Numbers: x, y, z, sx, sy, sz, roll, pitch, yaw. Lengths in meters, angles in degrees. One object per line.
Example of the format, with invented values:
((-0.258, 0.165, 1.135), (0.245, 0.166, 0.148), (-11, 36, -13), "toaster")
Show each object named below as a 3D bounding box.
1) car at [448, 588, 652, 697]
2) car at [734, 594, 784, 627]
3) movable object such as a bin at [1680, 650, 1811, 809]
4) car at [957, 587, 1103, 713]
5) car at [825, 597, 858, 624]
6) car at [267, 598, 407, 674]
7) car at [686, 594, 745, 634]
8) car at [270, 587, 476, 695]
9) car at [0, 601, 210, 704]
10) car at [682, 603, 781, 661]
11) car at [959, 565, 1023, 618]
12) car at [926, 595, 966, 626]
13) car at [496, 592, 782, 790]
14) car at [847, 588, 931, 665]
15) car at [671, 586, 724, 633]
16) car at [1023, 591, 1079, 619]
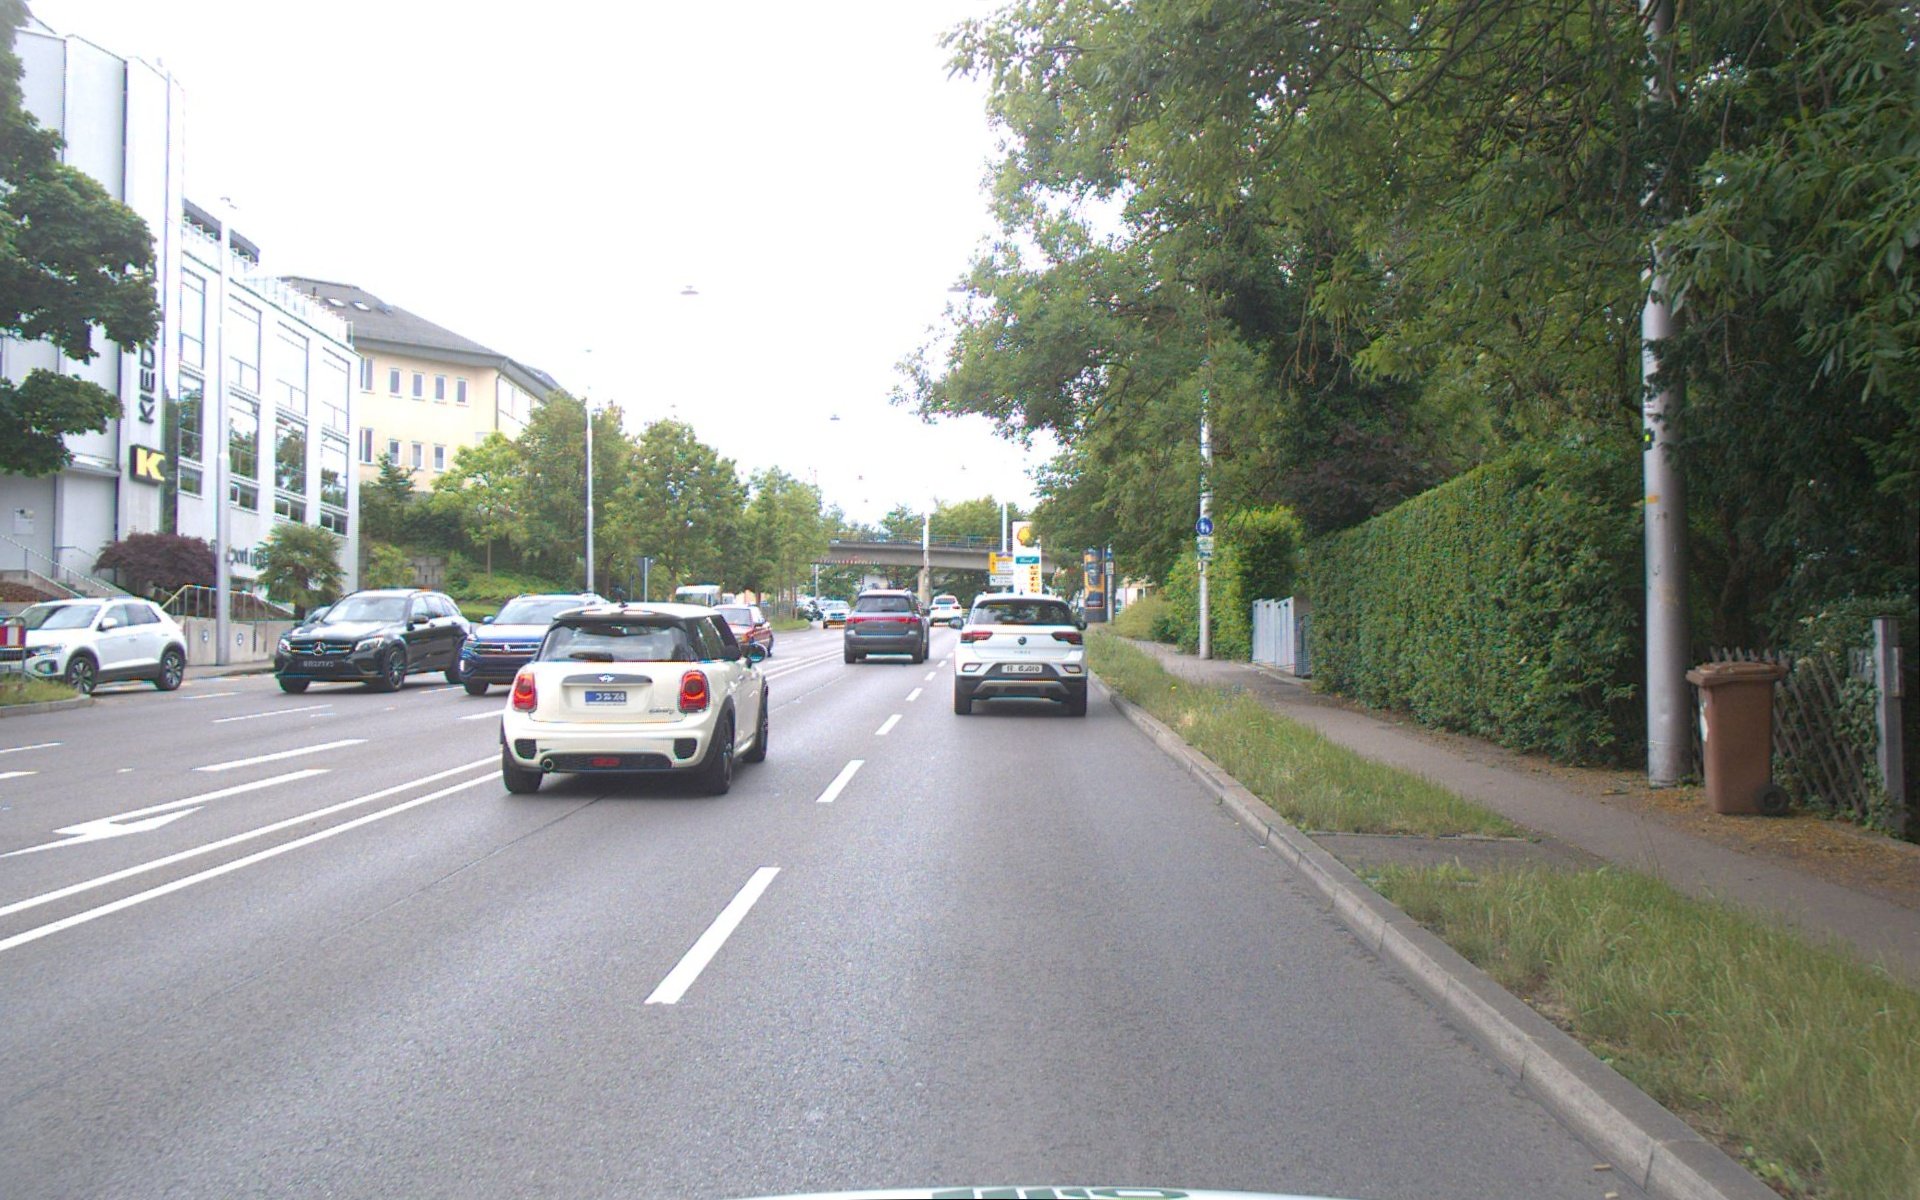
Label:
((-6.628, 0.636, 27.370), (1.733, 1.624, 5.186), (0, 0, 4), "car")
((-10.086, 0.541, 83.294), (2.027, 1.608, 4.691), (0, 0, -2), "car")
((4.968, 0.808, 10.486), (0.543, 0.964, 0.567), (1, 0, -3), "movable object such as a bin")
((0.872, 0.629, 22.559), (1.774, 1.566, 3.689), (0, 0, -1), "car")
((-7.126, 0.639, 98.865), (1.859, 1.569, 4.687), (0, 0, -6), "car")
((-14.474, 0.805, 38.654), (1.734, 1.662, 3.916), (0, 0, 1), "car")
((-10.837, 0.612, 73.623), (2.027, 1.685, 4.691), (0, 0, -2), "car")
((-9.757, 0.644, 27.861), (1.733, 1.662, 4.145), (0, 0, 4), "car")
((-14.118, 0.786, 26.771), (1.733, 1.525, 4.307), (0, 0, 4), "car")
((-5.679, 0.760, 41.666), (1.705, 1.376, 4.846), (0, 0, 1), "car")
((0.987, -0.247, 55.092), (1.835, 1.527, 4.553), (3, -1, -2), "car")
((-0.828, 0.594, 93.484), (1.822, 1.681, 4.630), (0, 0, -6), "car")
((-2.511, 0.654, 13.714), (1.594, 1.418, 3.566), (0, 0, 1), "car")
((-1.620, 0.589, 38.938), (1.776, 1.681, 4.636), (0, 0, 0), "car")
((-13.721, 0.483, 86.762), (2.027, 2.346, 5.463), (0, 0, -2), "car")
((5.048, 0.270, 91.133), (1.820, 1.527, 4.054), (0, 0, 23), "car")
